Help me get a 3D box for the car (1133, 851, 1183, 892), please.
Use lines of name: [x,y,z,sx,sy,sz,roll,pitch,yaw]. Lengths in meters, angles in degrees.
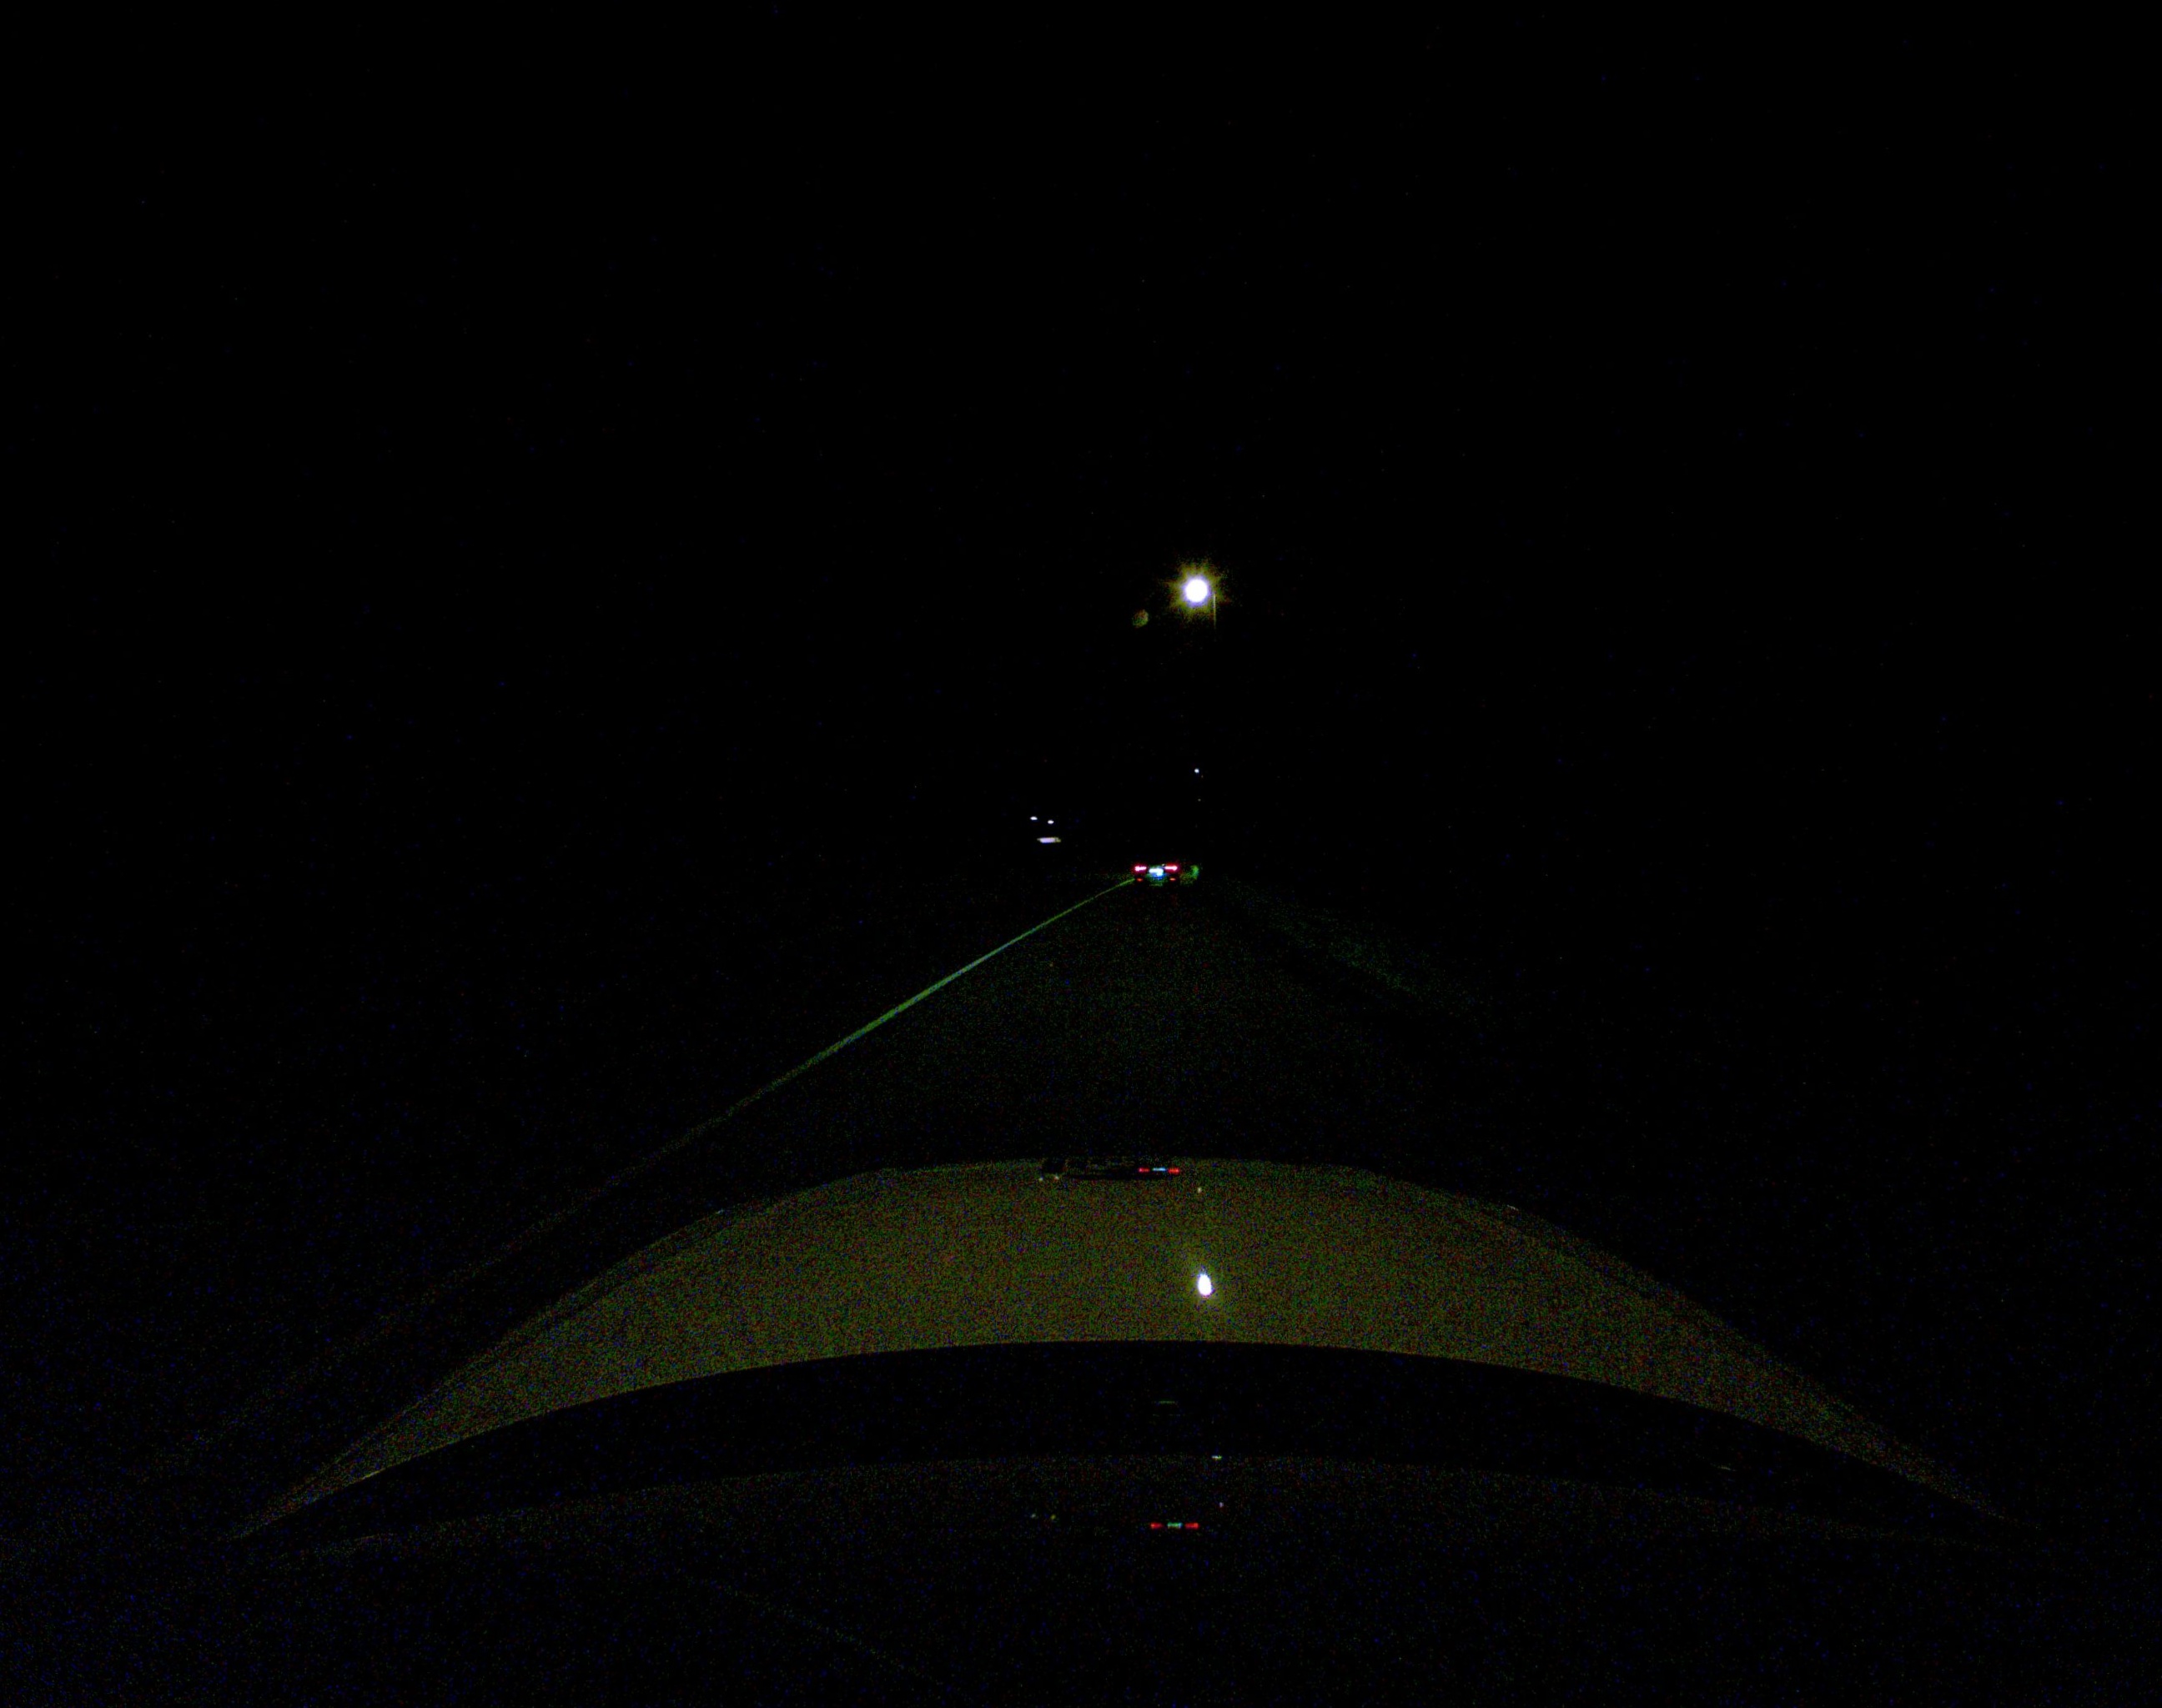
car: [3.256,0.672,33.799,1.804,1.573,3.953,-1,0,9]
